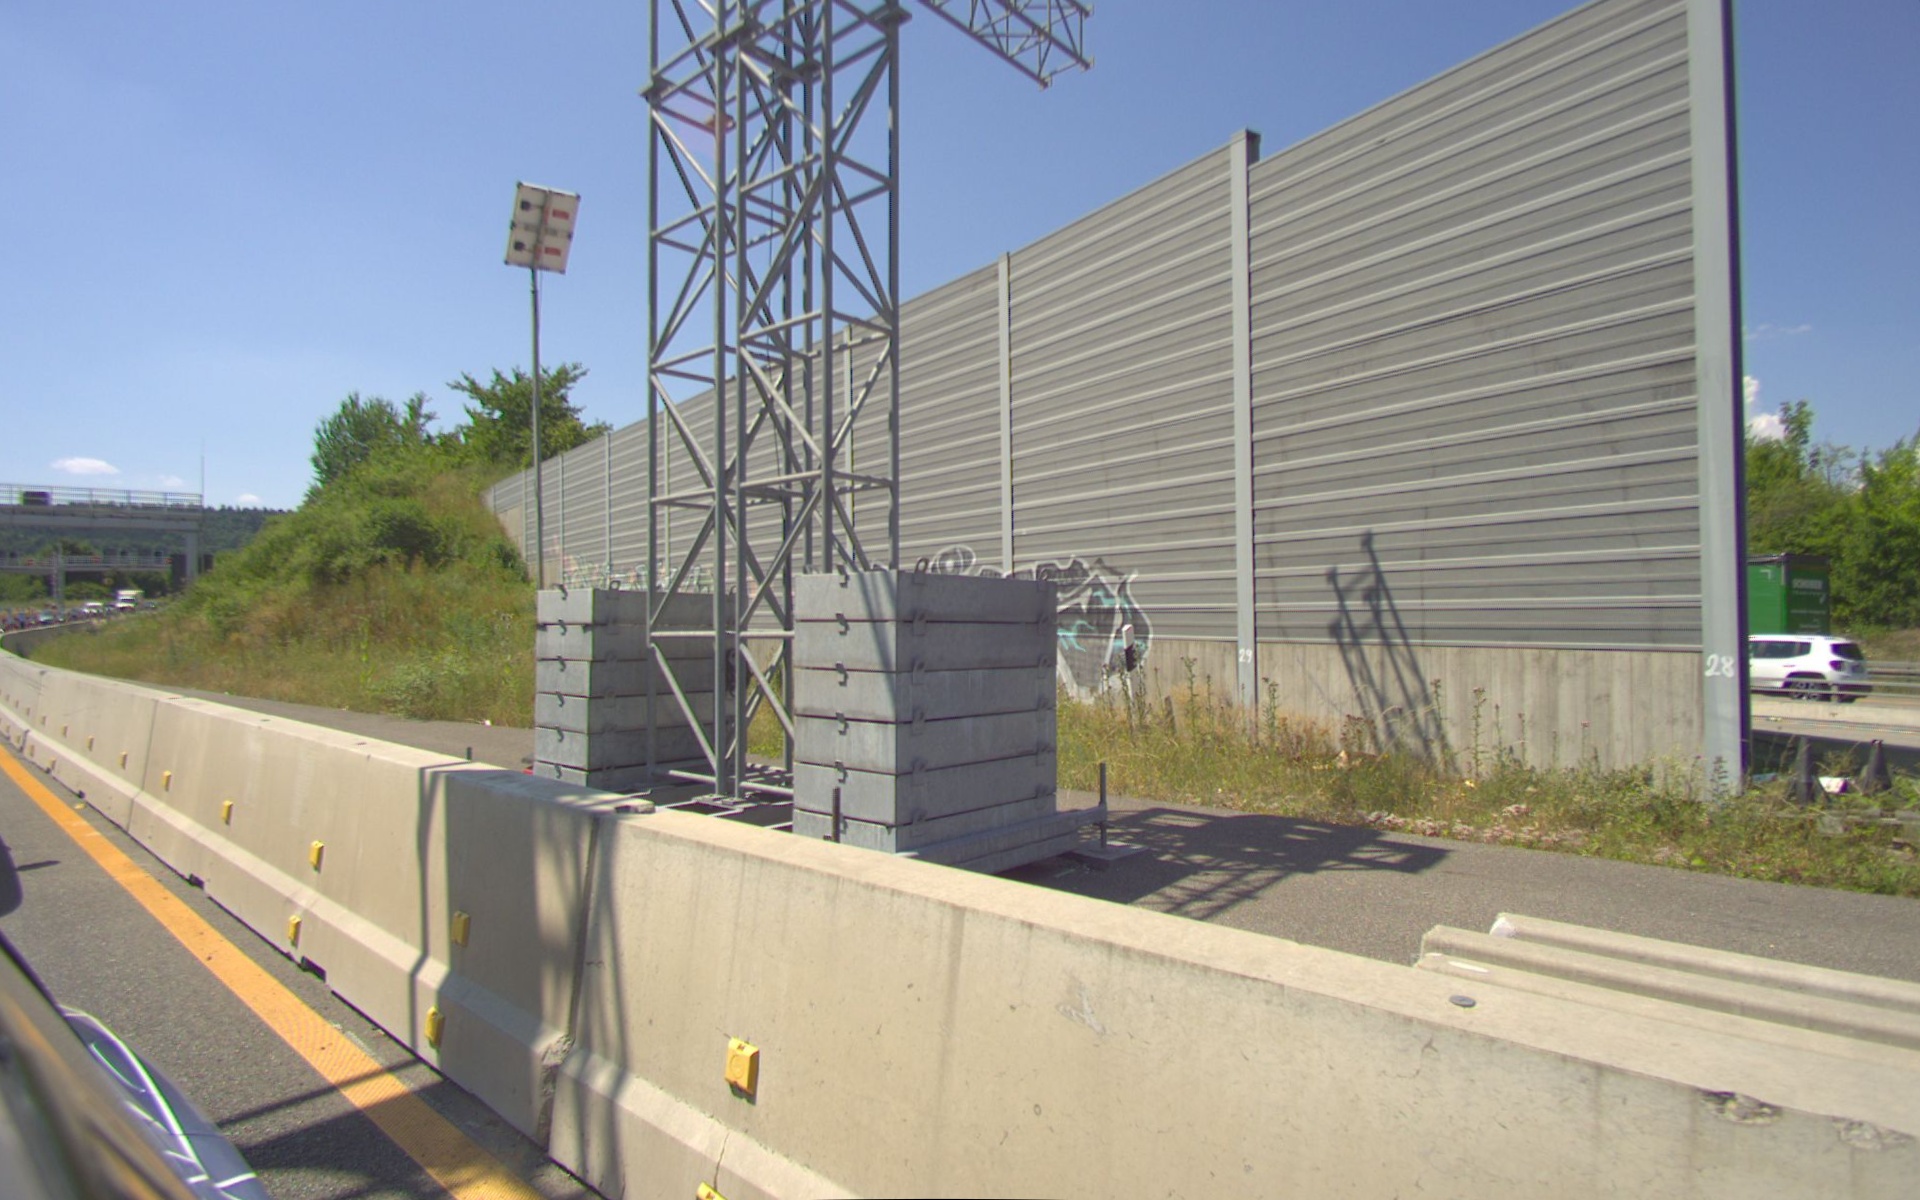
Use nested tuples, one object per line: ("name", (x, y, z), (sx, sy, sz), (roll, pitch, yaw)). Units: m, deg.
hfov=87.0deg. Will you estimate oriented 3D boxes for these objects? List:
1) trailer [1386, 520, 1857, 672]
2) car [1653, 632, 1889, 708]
("trailer", (22.058, -0.085, 35.683), (3.496, 4.302, 13.953), (-1, 0, -27))
("car", (19.737, 1.631, 24.839), (1.692, 1.636, 4.183), (0, -1, -30))
